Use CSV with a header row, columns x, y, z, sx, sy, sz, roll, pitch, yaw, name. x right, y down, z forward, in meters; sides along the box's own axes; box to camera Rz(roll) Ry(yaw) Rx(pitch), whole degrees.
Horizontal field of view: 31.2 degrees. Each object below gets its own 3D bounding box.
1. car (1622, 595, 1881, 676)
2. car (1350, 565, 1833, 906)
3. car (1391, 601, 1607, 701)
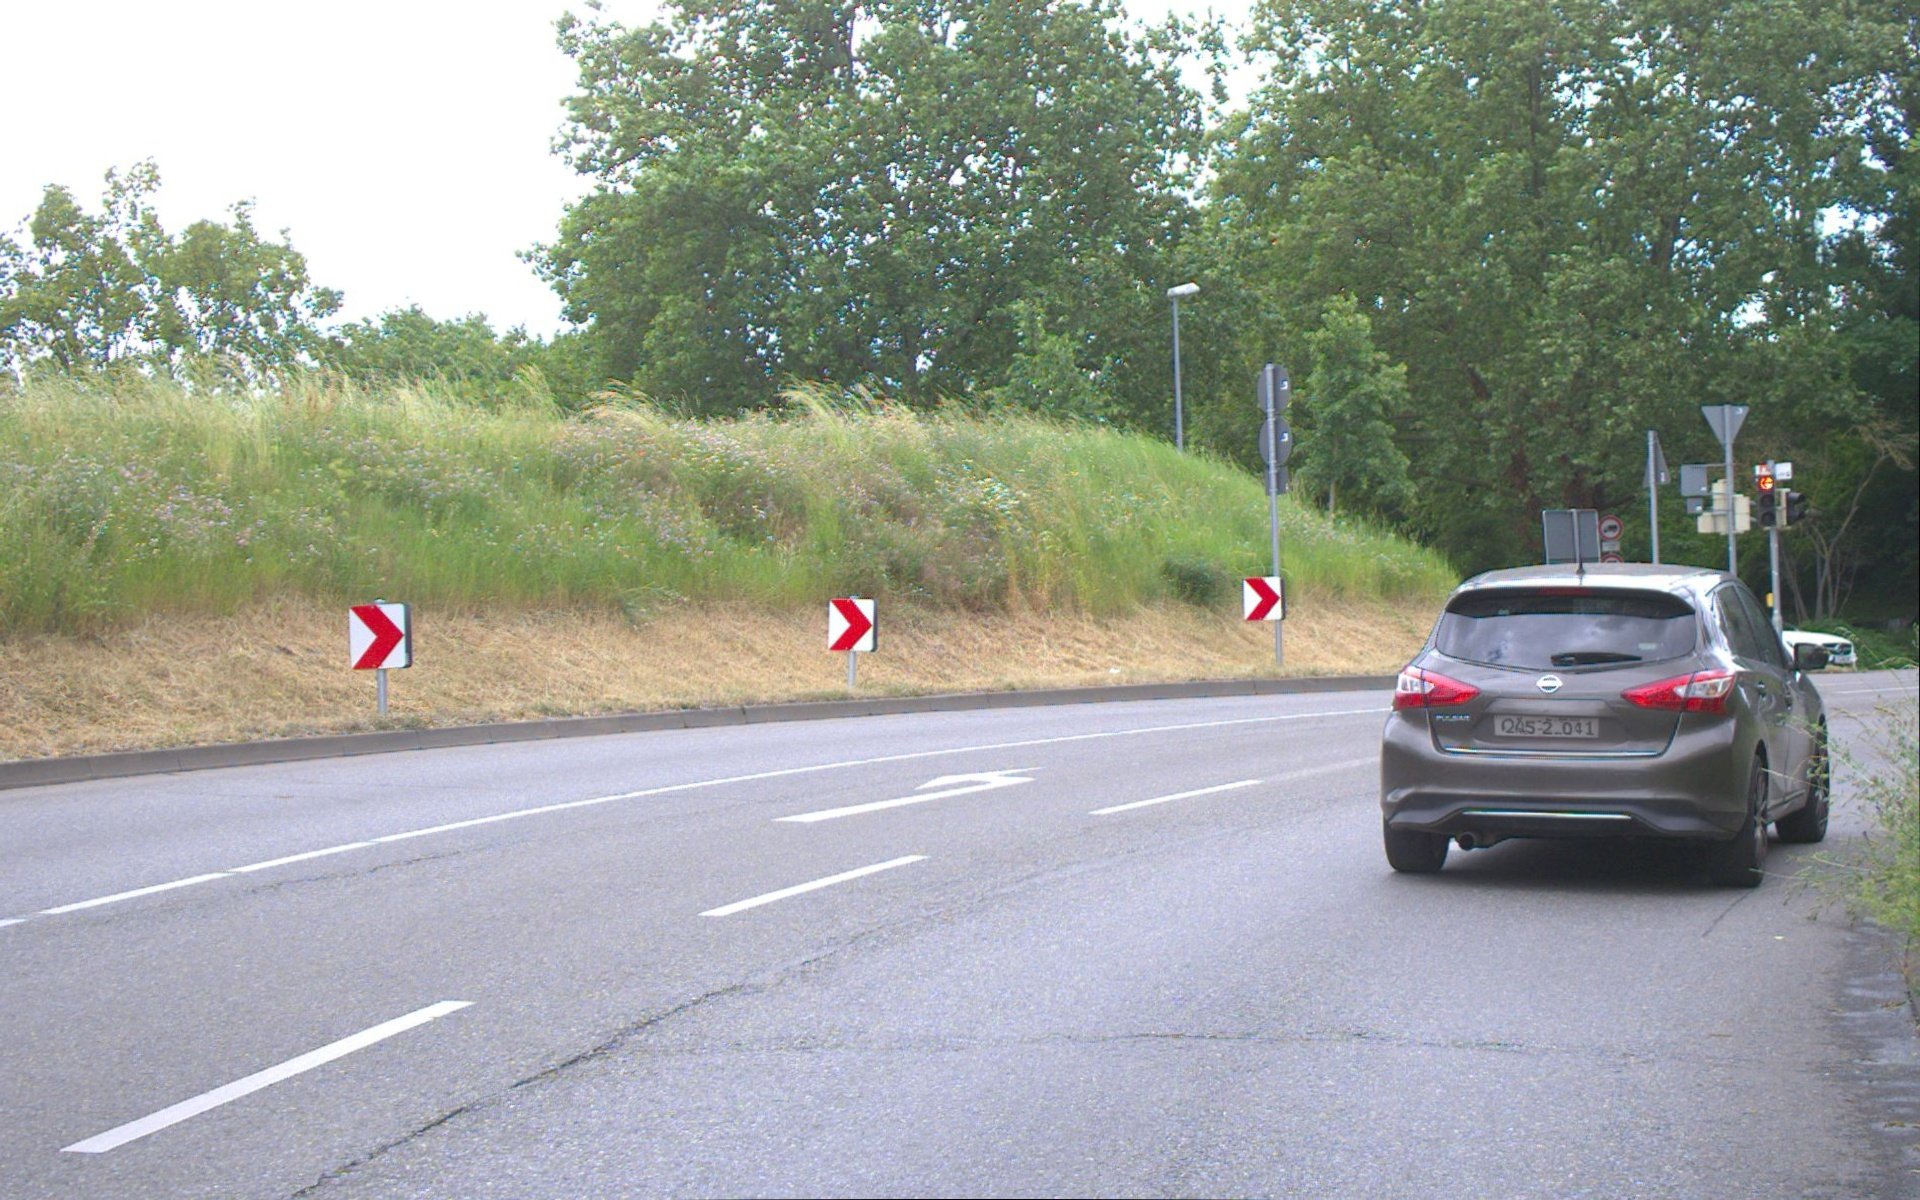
x,y,z,sx,sy,sz,roll,pitch,yaw,name
14.784,0.696,64.387,1.994,1.334,4.418,2,-4,-39,car
3.338,0.585,17.567,1.846,1.488,3.996,1,1,19,car
10.836,1.043,69.322,1.850,1.807,4.037,0,-3,-39,car
